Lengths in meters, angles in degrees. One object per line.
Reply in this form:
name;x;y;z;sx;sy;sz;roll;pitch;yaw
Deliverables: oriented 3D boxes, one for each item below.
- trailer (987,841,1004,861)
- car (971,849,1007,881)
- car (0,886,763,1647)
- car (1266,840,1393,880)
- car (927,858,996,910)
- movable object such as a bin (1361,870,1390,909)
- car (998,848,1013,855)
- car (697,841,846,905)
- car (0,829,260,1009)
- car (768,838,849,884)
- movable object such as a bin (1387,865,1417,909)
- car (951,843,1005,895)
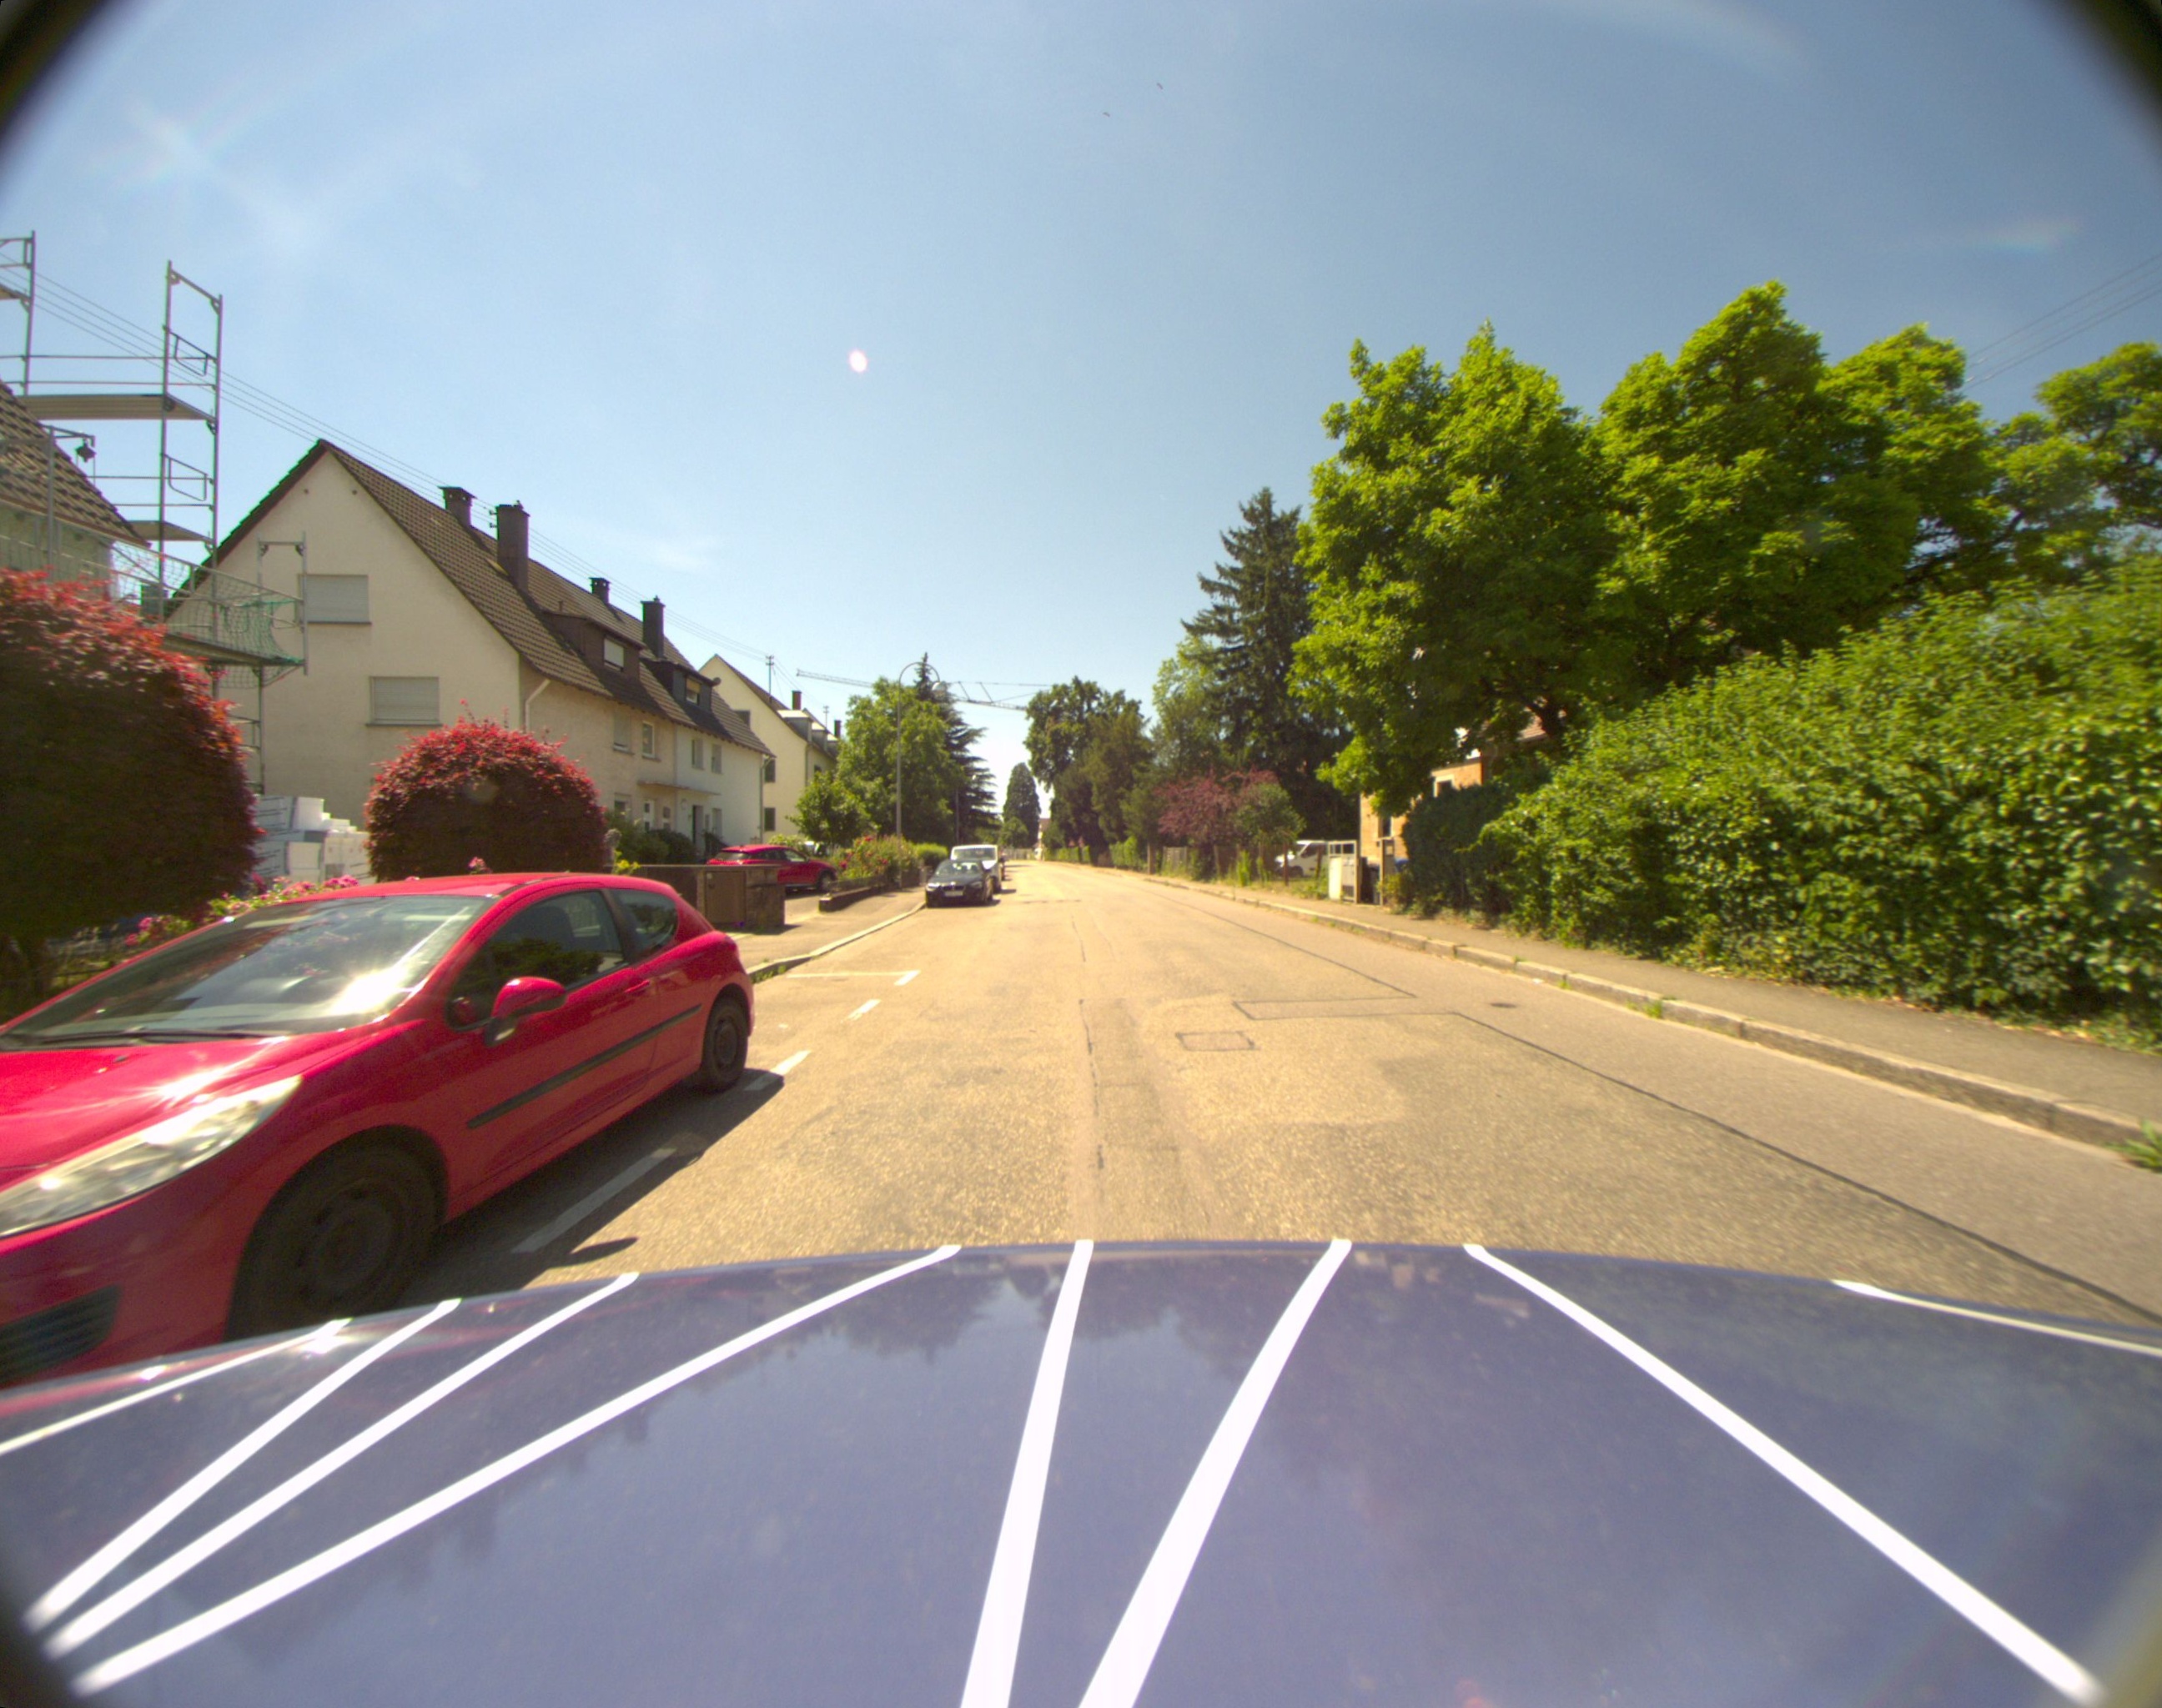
trailer;-9.547;-0.351;84.258;1.685;2.057;3.704;-2;3;-8
car;-5.340;0.605;44.592;1.908;1.718;4.389;-3;1;-5
car;-3.161;0.998;3.440;1.668;1.446;4.000;-2;0;1
car;14.514;0.364;44.565;6.683;2.159;2.400;1;0;-9
car;-3.607;0.868;23.491;1.661;1.390;3.998;-1;0;-3
movable object such as a bin;6.972;0.832;17.998;0.468;0.904;0.458;-1;1;-4
car;-14.249;-0.468;143.254;1.872;1.375;4.596;0;0;-19
car;-9.059;0.485;22.619;1.741;1.526;4.055;3;4;22
car;-9.881;0.522;6.353;1.799;1.501;3.999;1;-1;-3
car;-12.046;0.330;33.915;1.748;1.845;4.401;2;-1;4
movable object such as a bin;7.531;0.767;17.824;0.468;1.003;0.505;-1;1;-4
car;-4.107;0.552;30.935;1.908;1.913;4.716;-1;0;-5
